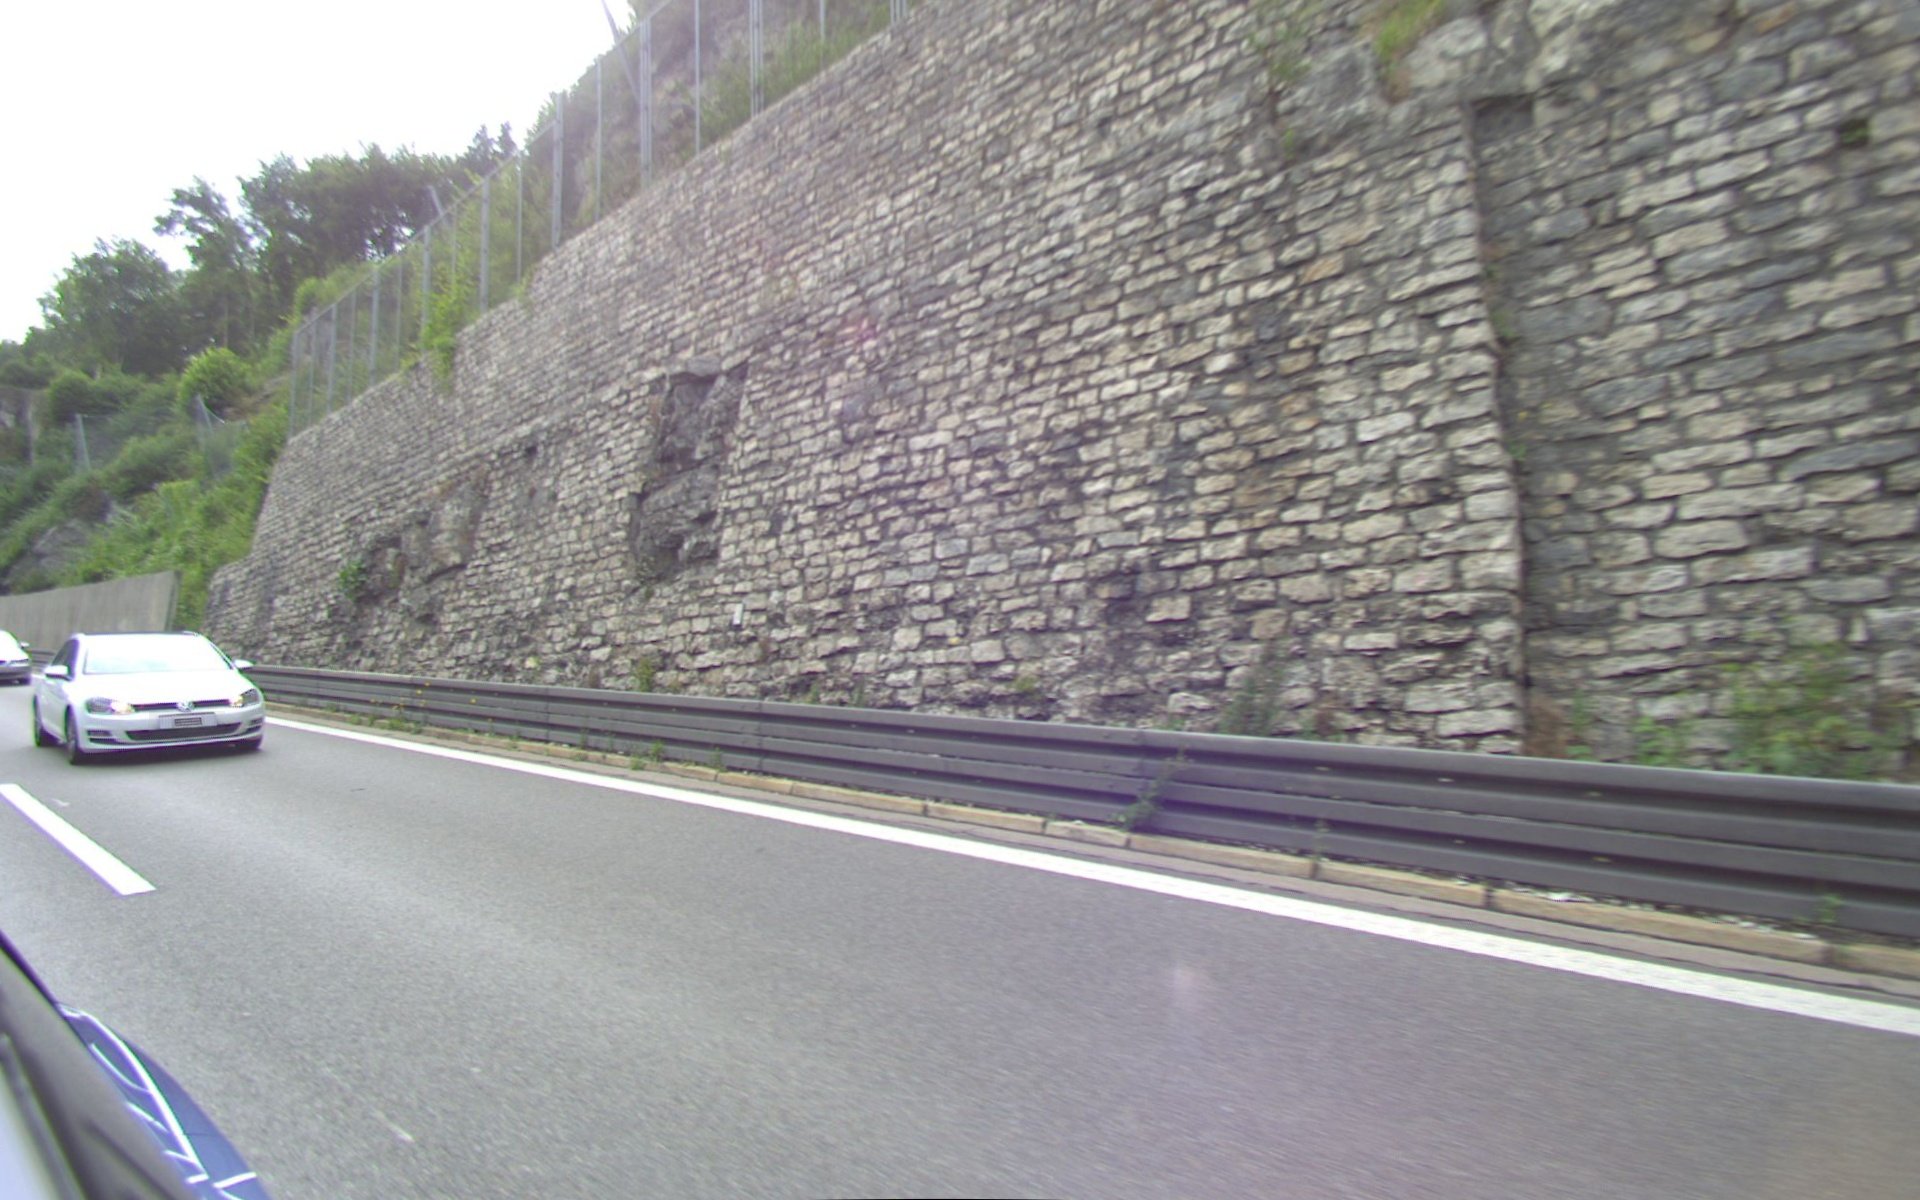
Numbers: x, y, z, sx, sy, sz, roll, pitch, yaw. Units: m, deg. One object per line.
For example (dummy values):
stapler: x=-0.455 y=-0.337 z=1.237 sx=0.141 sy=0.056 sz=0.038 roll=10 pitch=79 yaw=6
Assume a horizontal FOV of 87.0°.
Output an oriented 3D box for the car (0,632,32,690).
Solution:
car: x=-26.687 y=1.648 z=27.349 sx=5.132 sy=1.468 sz=1.809 roll=-2 pitch=-1 yaw=41

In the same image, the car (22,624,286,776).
car: x=-9.956 y=1.052 z=12.360 sx=4.627 sy=1.493 sz=1.825 roll=-1 pitch=-2 yaw=43
